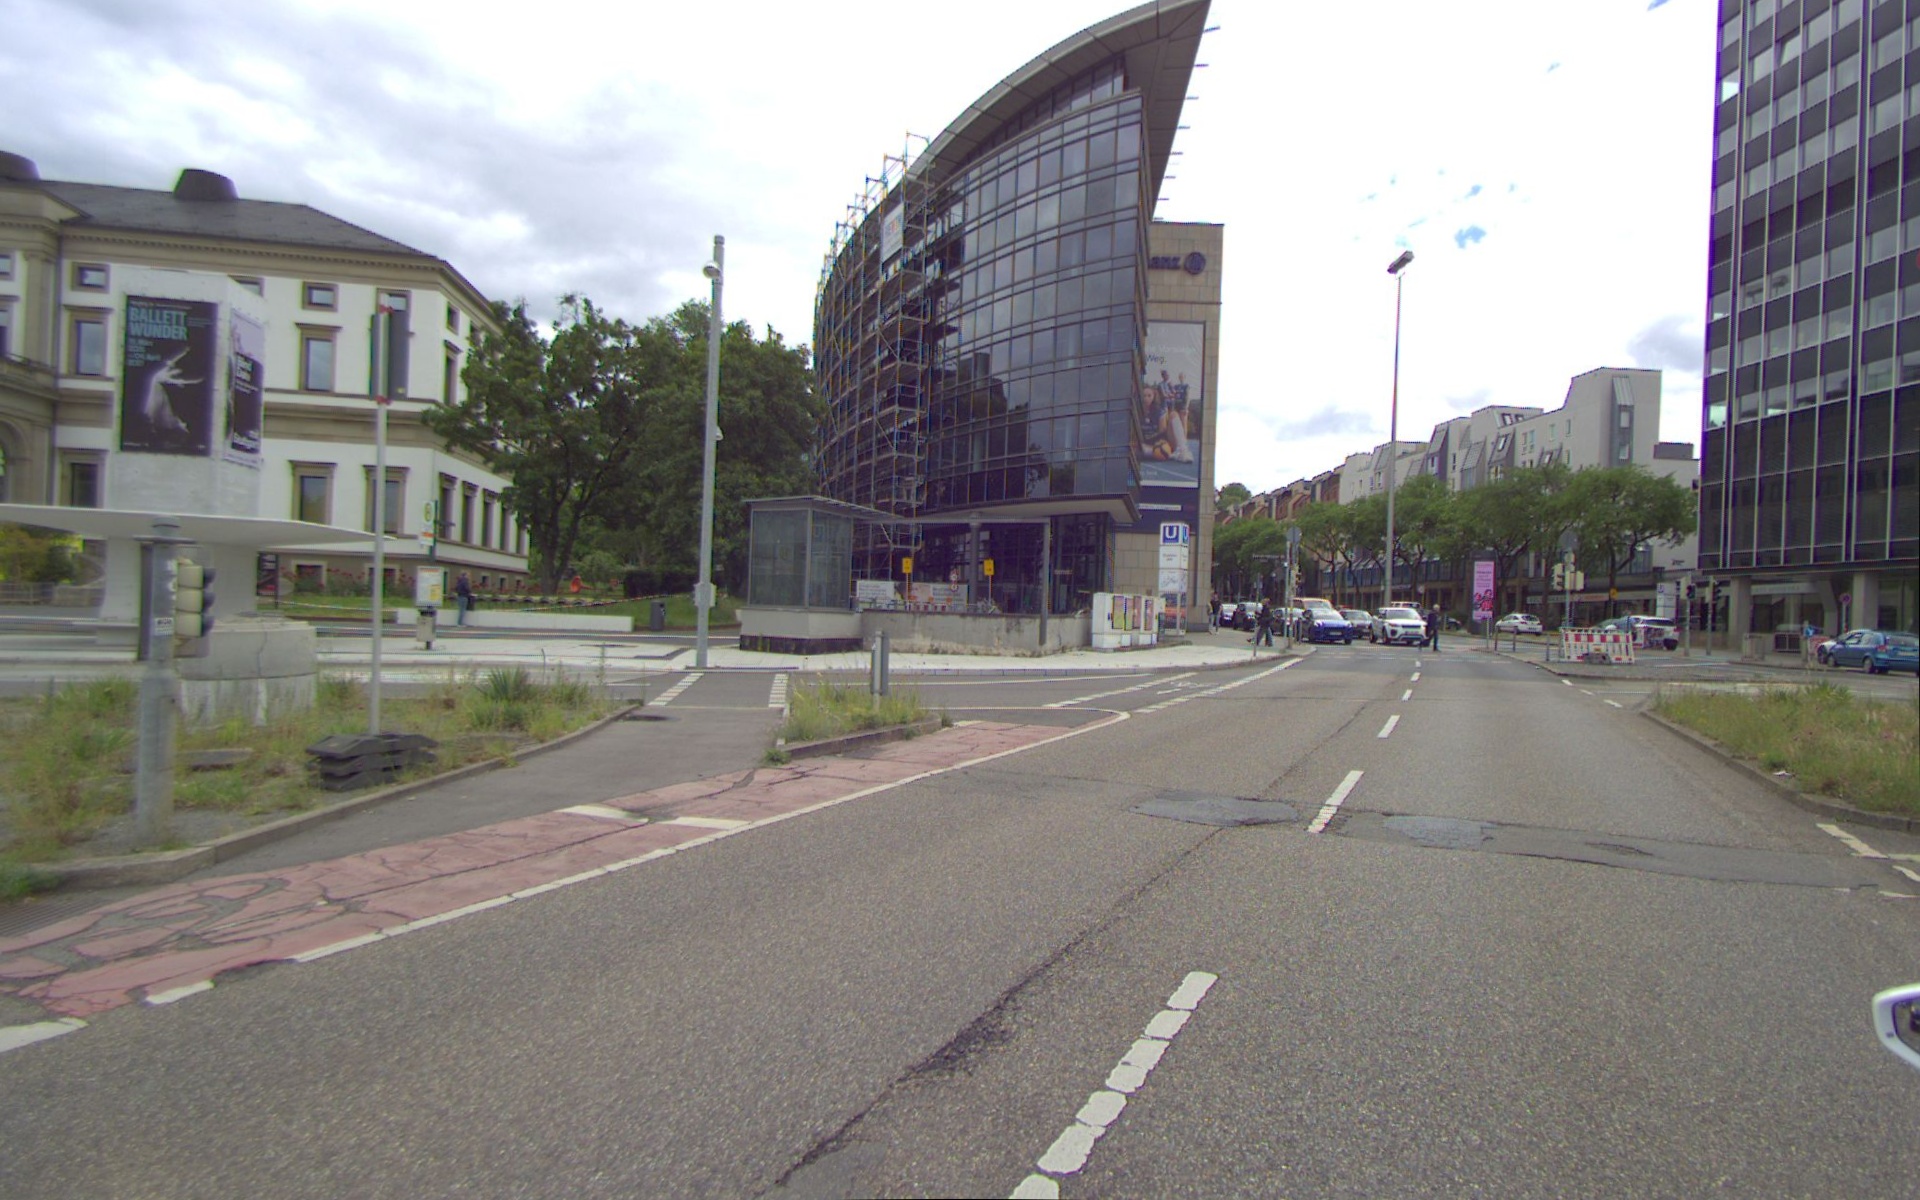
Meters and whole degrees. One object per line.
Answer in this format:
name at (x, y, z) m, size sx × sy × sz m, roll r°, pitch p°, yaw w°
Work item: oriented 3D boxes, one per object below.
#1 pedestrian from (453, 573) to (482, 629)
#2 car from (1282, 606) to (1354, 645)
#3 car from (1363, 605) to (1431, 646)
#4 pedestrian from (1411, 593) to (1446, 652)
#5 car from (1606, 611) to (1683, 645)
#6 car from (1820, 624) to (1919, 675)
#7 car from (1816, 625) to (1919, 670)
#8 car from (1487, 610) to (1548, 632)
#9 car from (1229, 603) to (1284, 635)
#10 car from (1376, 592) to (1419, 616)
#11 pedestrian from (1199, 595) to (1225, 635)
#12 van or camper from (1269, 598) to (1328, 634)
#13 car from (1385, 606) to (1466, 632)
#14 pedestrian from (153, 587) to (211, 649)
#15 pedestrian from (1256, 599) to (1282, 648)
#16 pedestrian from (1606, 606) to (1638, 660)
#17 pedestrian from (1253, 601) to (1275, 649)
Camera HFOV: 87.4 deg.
pedestrian at (-16.287, 0.026, 33.217) m, size 0.583 × 1.838 × 0.604 m, roll 1°, pitch 1°, yaw 5°
car at (16.074, 1.103, 45.293) m, size 1.960 × 1.545 × 4.092 m, roll 2°, pitch 0°, yaw 3°
car at (19.319, 1.087, 44.588) m, size 1.705 × 1.620 × 4.321 m, roll 2°, pitch 0°, yaw 9°
pedestrian at (17.889, 0.844, 38.332) m, size 0.864 × 2.201 × 0.760 m, roll 2°, pitch 1°, yaw -16°
car at (35.076, 1.420, 51.601) m, size 1.800 × 1.588 × 3.769 m, roll 1°, pitch 0°, yaw 10°
car at (31.535, 1.663, 34.674) m, size 1.803 × 1.538 × 3.764 m, roll 2°, pitch 0°, yaw 24°
car at (35.565, 1.803, 38.883) m, size 1.801 × 1.538 × 3.769 m, roll 1°, pitch 0°, yaw 5°
car at (39.778, 1.497, 71.802) m, size 2.022 × 1.437 × 4.334 m, roll 1°, pitch 0°, yaw 2°
car at (17.367, 1.069, 59.071) m, size 1.960 × 1.667 × 4.683 m, roll 1°, pitch 1°, yaw 2°
car at (36.947, 0.344, 84.929) m, size 1.801 × 1.899 × 4.872 m, roll 1°, pitch 0°, yaw 5°
pedestrian at (11.833, 0.694, 47.180) m, size 0.919 × 1.834 × 0.693 m, roll -1°, pitch 1°, yaw -23°
van or camper at (19.612, 0.864, 58.403) m, size 1.881 × 1.947 × 5.084 m, roll 1°, pitch 0°, yaw 2°
car at (30.563, 1.213, 66.098) m, size 4.473 × 1.478 × 1.882 m, roll 3°, pitch 0°, yaw 10°
pedestrian at (-17.506, 0.399, 22.609) m, size 0.746 × 1.370 × 0.706 m, roll 1°, pitch 0°, yaw -3°
pedestrian at (11.164, 0.845, 36.315) m, size 0.754 × 1.723 × 0.632 m, roll 2°, pitch 1°, yaw 6°
pedestrian at (22.965, 1.126, 34.852) m, size 0.703 × 1.815 × 0.634 m, roll -1°, pitch 2°, yaw 2°
pedestrian at (11.244, 0.905, 37.144) m, size 0.631 × 1.723 × 0.632 m, roll 2°, pitch 1°, yaw 6°
